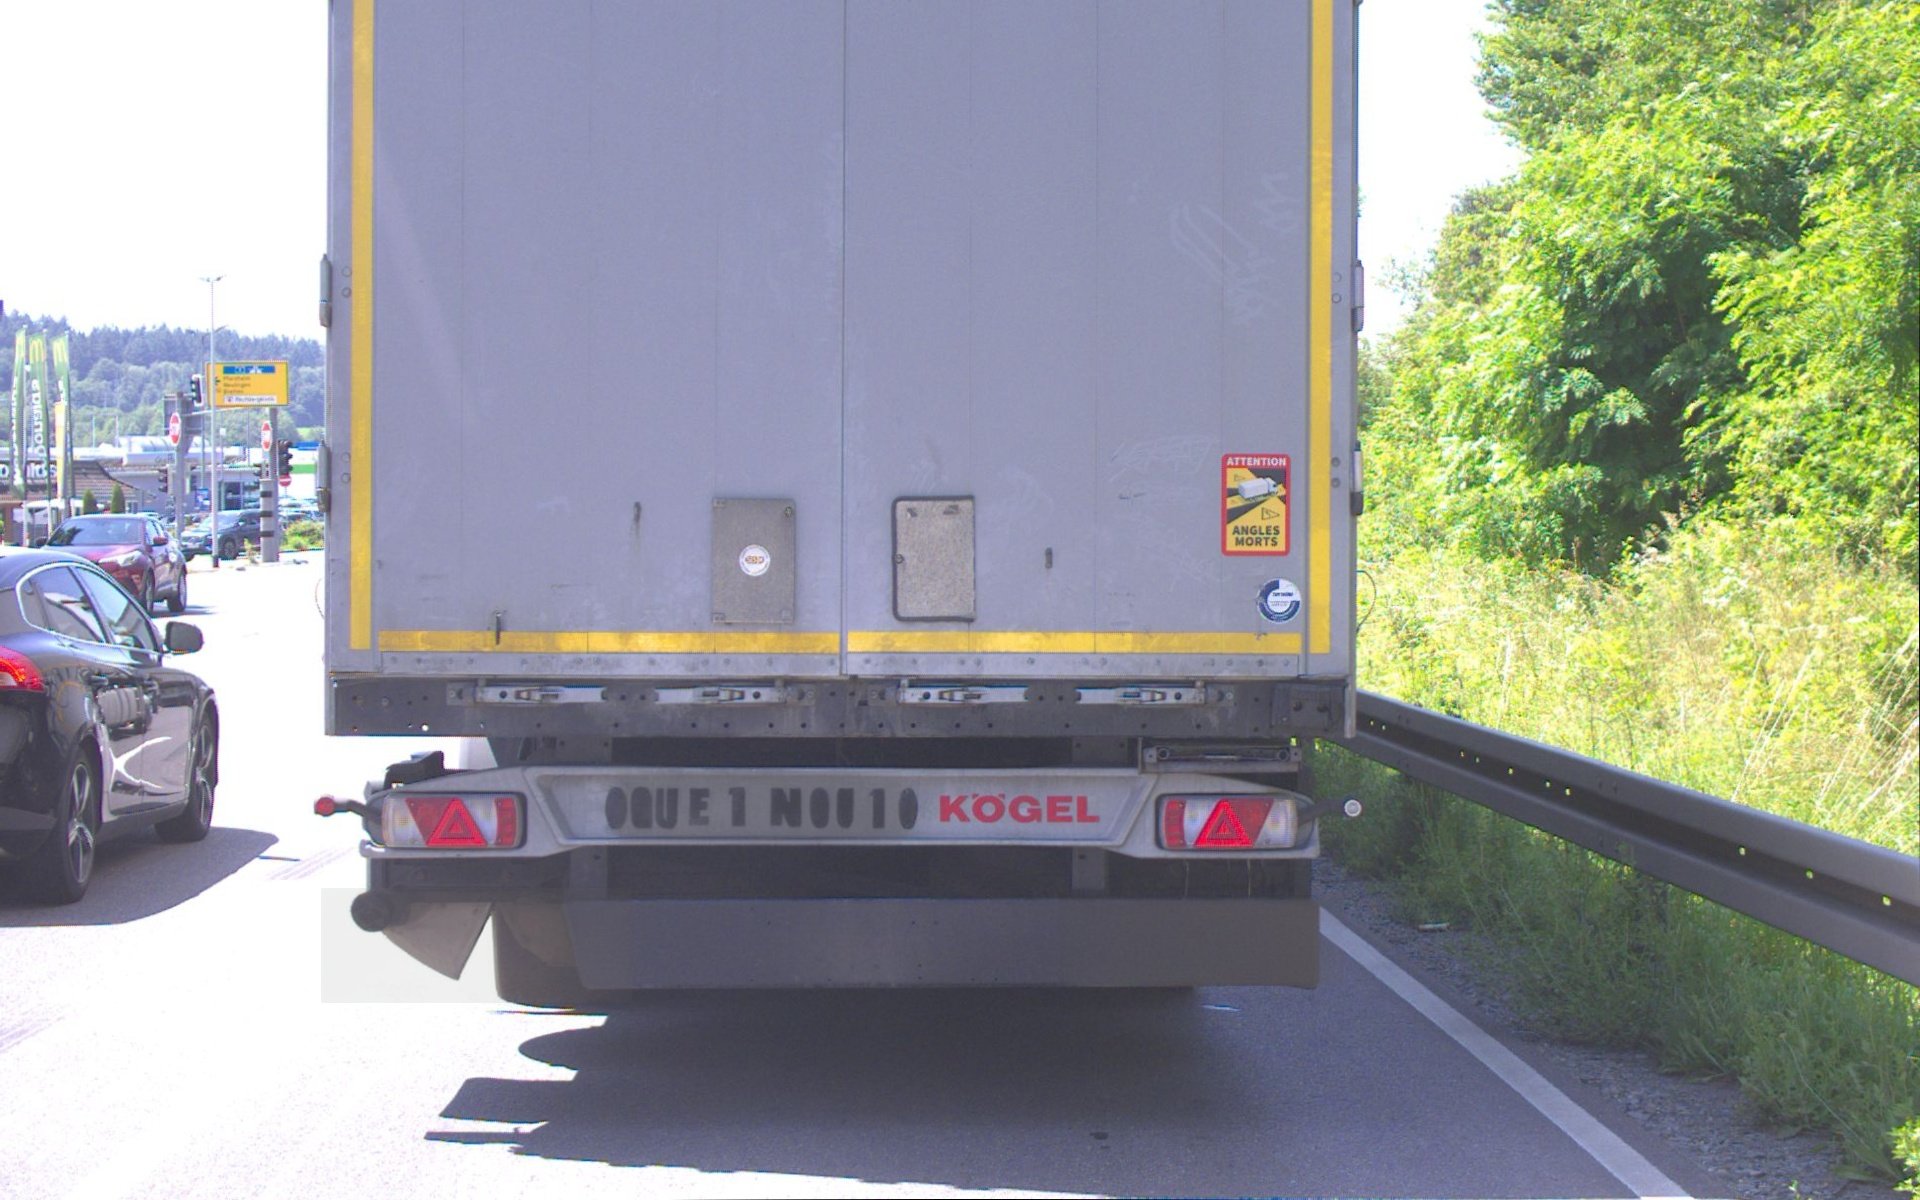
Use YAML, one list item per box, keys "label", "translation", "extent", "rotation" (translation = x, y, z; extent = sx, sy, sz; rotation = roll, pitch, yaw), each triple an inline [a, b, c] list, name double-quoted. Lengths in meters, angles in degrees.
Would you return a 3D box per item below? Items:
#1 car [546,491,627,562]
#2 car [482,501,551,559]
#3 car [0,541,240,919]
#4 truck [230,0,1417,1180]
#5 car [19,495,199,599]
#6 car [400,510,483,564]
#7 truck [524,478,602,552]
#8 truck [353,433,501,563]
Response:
- label: "car"
  translation: [-10.853, -2.144, 100.121]
  extent: [1.993, 2.007, 4.000]
  rotation: [1, 1, -1]
- label: "car"
  translation: [-13.567, -2.154, 105.343]
  extent: [1.720, 1.747, 3.857]
  rotation: [0, 1, -2]
- label: "car"
  translation: [-4.345, 0.457, 14.842]
  extent: [1.686, 1.393, 4.403]
  rotation: [0, 1, -2]
- label: "truck"
  translation: [-0.400, -1.047, 16.470]
  extent: [2.755, 4.623, 16.656]
  rotation: [1, 1, -1]
- label: "car"
  translation: [-12.823, -0.818, 51.983]
  extent: [1.903, 1.503, 3.765]
  rotation: [0, 1, -2]
- label: "car"
  translation: [-13.987, -1.686, 92.842]
  extent: [1.766, 1.381, 4.000]
  rotation: [1, 1, -2]
- label: "truck"
  translation: [-18.632, -3.993, 161.919]
  extent: [2.846, 3.340, 11.484]
  rotation: [0, 1, -2]
- label: "truck"
  translation: [-18.190, -3.452, 118.504]
  extent: [2.968, 4.162, 16.576]
  rotation: [0, 1, -2]
